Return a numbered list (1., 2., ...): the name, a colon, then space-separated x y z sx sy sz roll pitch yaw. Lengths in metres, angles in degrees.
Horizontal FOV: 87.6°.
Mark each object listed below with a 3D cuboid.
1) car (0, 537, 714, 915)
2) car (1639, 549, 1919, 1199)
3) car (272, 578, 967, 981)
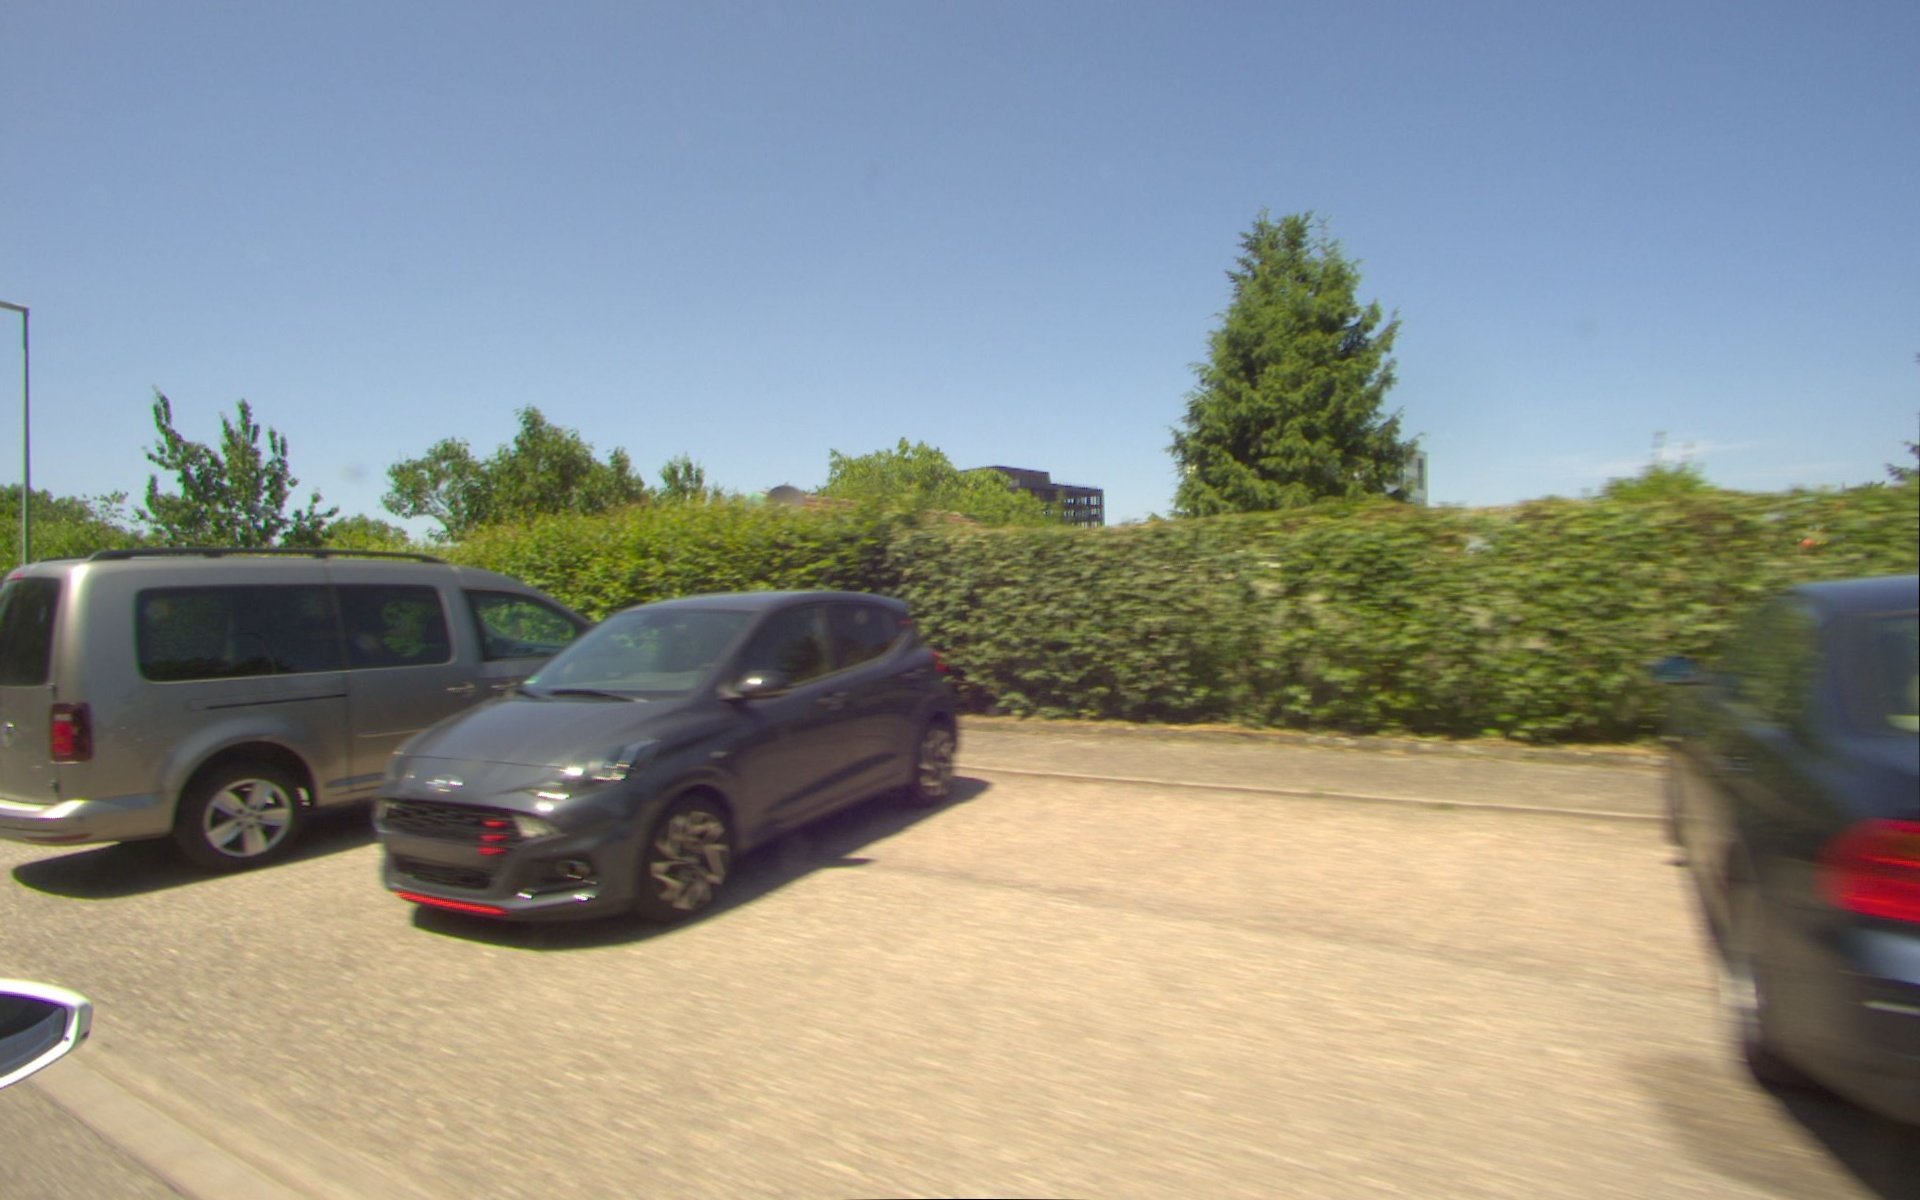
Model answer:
1. car: -4.256 0.578 7.432 1.967 1.873 4.609 -1 1 32
2. car: 3.541 0.563 3.398 1.814 1.408 4.192 -1 3 31
3. car: -1.571 0.681 5.856 1.813 1.522 3.572 -1 1 27
